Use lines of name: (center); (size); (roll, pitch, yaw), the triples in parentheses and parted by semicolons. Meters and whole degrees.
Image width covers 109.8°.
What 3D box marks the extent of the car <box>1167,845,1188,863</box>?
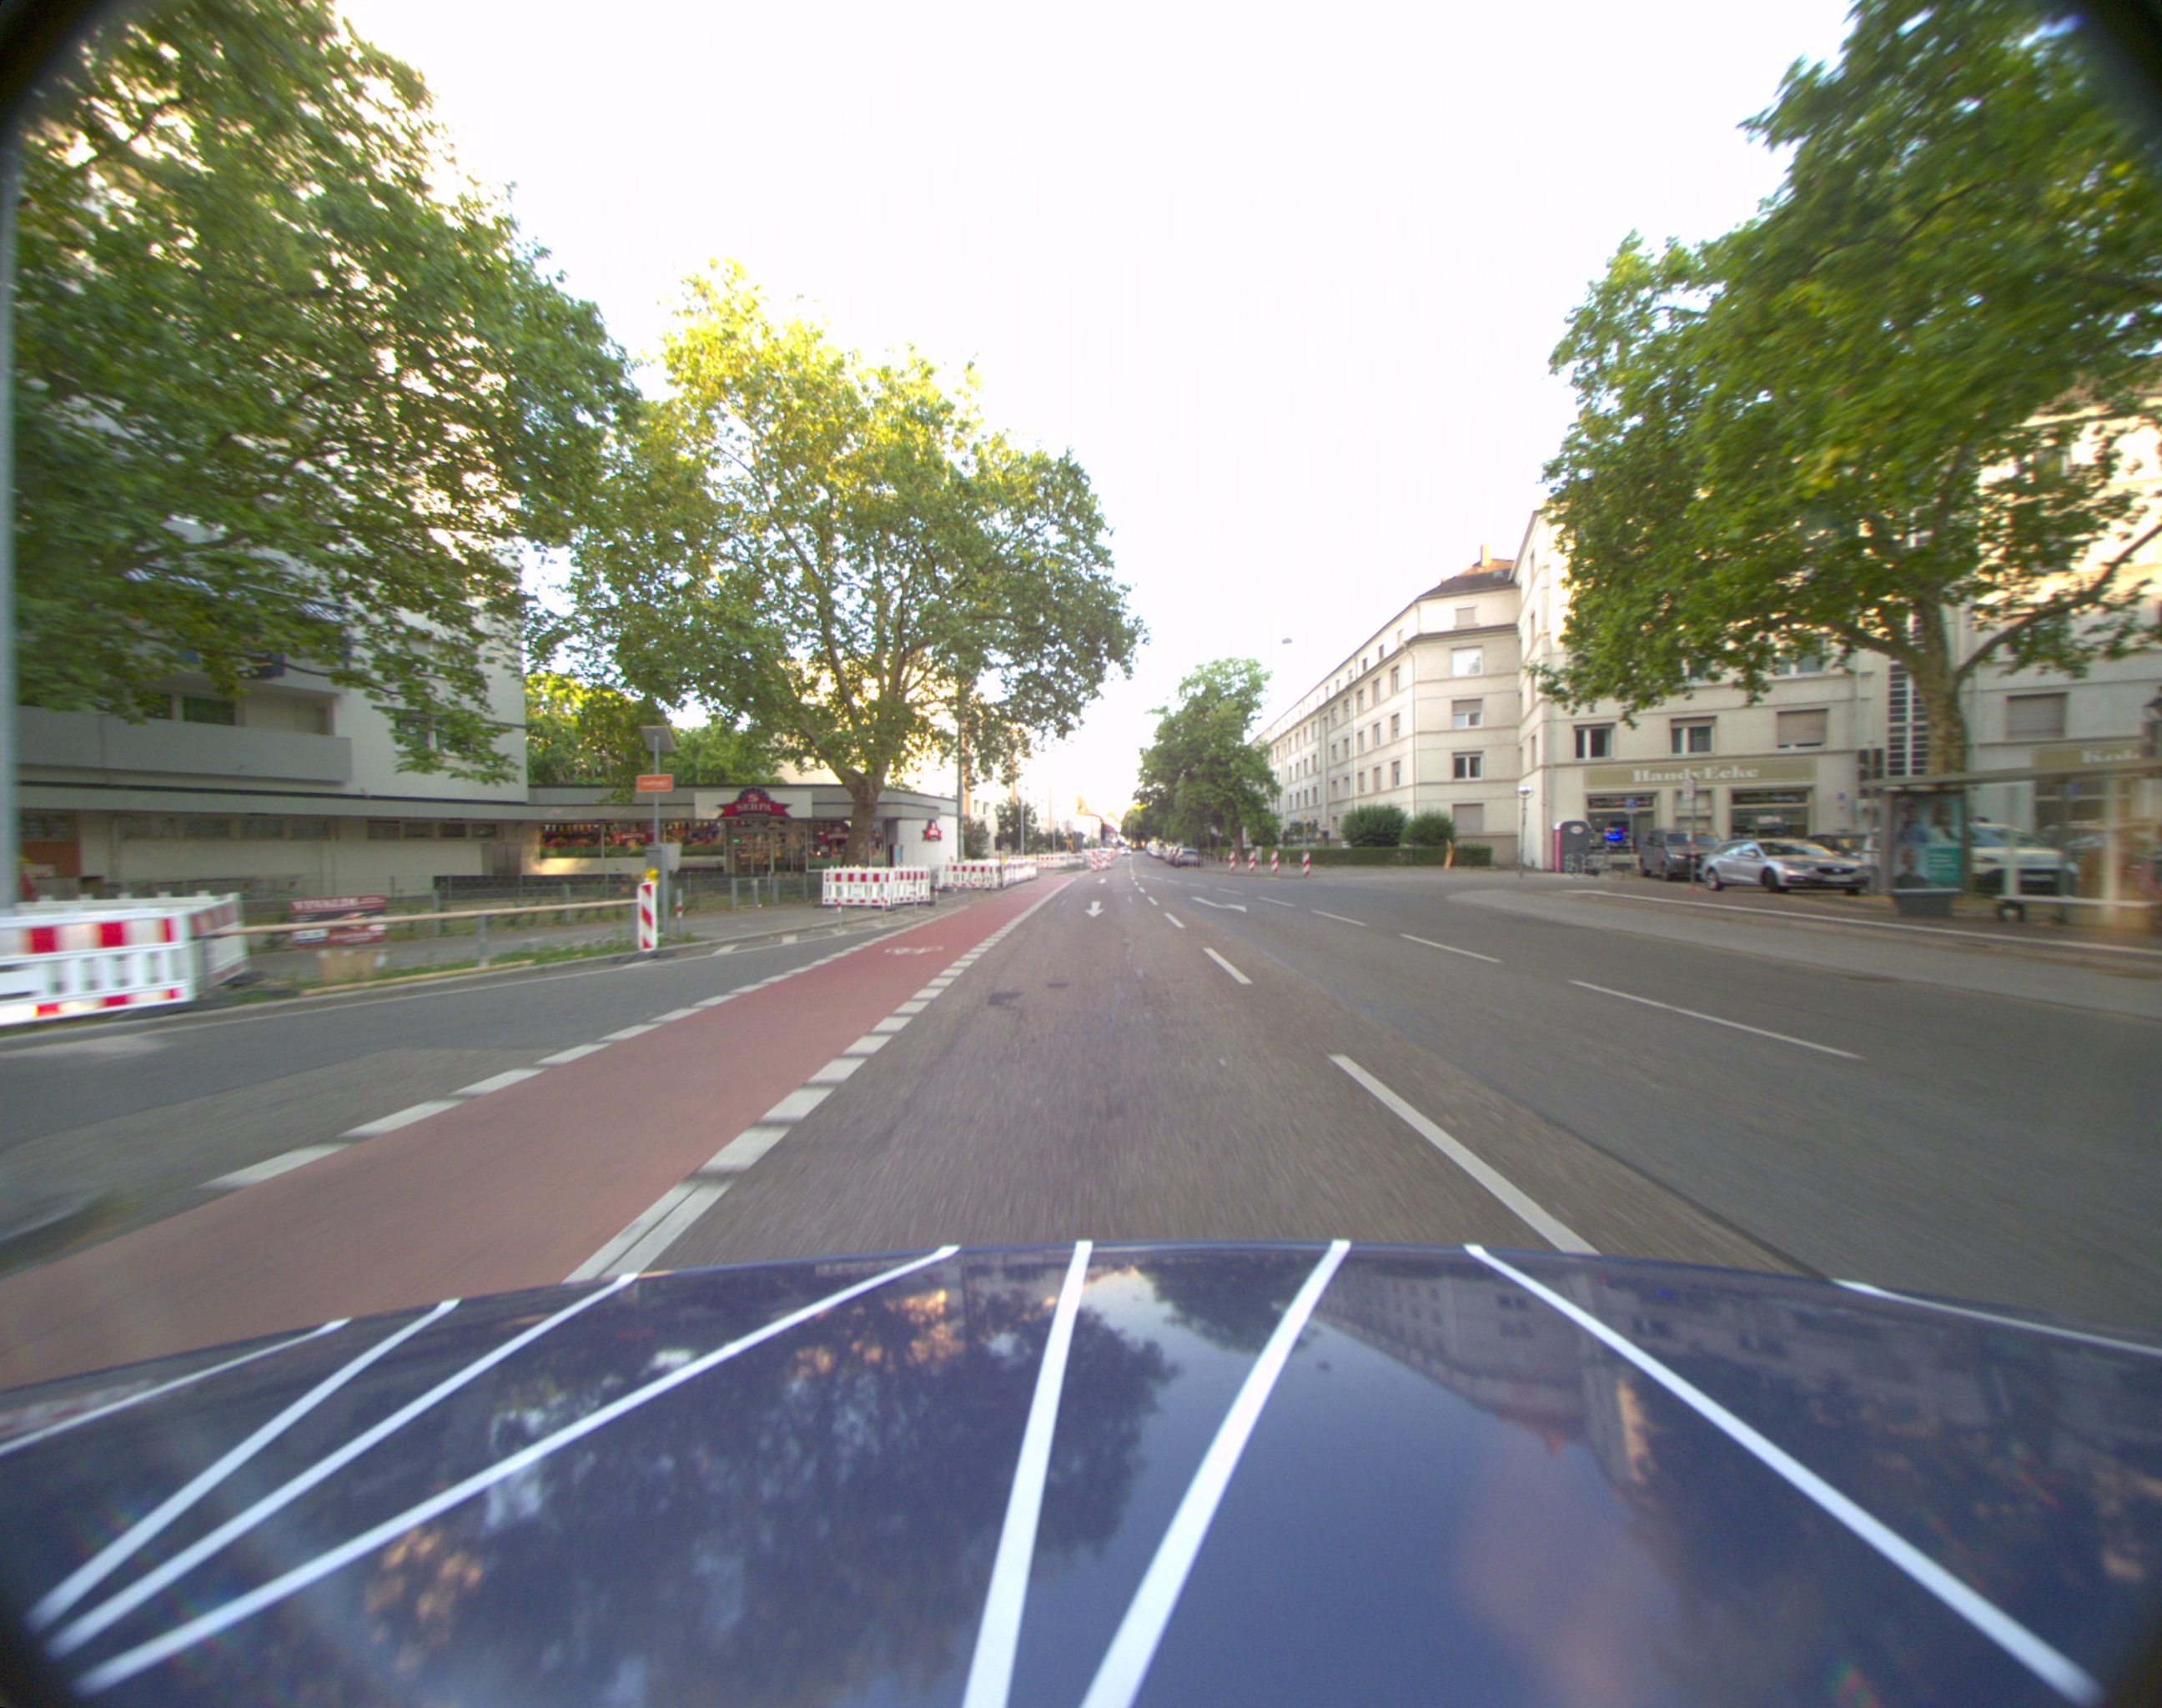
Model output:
car: (9.434, 0.002, 74.689); (1.892, 1.591, 4.260); (-2, 1, 6)

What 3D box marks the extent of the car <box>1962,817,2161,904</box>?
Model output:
car: (23.326, 0.153, 17.519); (1.995, 1.771, 4.648); (1, 0, 22)

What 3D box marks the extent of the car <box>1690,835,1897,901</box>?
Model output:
car: (18.283, 0.332, 19.857); (1.996, 1.495, 4.646); (1, 0, 15)

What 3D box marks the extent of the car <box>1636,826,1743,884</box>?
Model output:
car: (22.809, -0.062, 28.713); (1.995, 1.945, 4.646); (1, 3, 24)

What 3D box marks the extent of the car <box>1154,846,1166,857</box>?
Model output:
car: (12.787, -0.420, 123.078); (1.892, 1.591, 4.260); (-2, 1, 6)

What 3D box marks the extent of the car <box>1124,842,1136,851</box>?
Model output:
car: (10.154, -1.513, 155.964); (1.997, 1.838, 4.002); (-2, 2, 9)

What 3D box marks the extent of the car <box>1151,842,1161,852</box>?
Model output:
car: (14.549, -1.419, 147.590); (1.892, 1.868, 4.946); (-2, 1, 6)

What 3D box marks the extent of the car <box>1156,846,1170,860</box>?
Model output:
car: (11.593, -0.210, 107.577); (1.892, 1.816, 4.260); (-2, 1, 6)

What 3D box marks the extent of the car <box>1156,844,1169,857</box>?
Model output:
car: (12.170, -0.516, 113.409); (1.892, 1.855, 4.260); (-2, 1, 6)

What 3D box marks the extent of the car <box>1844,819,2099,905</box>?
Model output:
car: (20.860, 0.180, 18.162); (1.995, 1.771, 4.648); (1, 0, 22)

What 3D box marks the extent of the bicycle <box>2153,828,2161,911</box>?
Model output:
bicycle: (20.760, 0.329, 13.467); (0.807, 1.605, 2.749); (-1, 2, 26)

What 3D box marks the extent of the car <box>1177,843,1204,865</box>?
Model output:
car: (8.494, -0.012, 59.401); (1.892, 1.591, 4.001); (-2, 1, 6)

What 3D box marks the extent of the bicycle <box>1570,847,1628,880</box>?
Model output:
bicycle: (19.596, 0.371, 28.790); (1.802, 1.199, 0.648); (-1, 2, 34)

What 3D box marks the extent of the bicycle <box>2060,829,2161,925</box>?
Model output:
bicycle: (19.272, 0.371, 13.783); (0.690, 1.605, 2.749); (-1, 2, 26)

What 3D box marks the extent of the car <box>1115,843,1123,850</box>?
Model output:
car: (9.501, -1.793, 190.045); (1.892, 1.591, 4.260); (-2, 1, 6)

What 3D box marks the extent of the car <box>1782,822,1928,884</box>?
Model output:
car: (27.307, -0.133, 27.052); (1.995, 1.945, 4.646); (1, 3, 24)

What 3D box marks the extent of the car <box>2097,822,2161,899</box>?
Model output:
car: (25.438, 0.152, 16.436); (1.995, 1.771, 4.648); (1, 0, 22)

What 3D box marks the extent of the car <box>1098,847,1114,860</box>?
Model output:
car: (3.468, -0.066, 106.289); (1.892, 1.591, 4.260); (-2, 1, 6)

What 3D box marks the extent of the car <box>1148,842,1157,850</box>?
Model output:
car: (16.111, -1.764, 171.256); (1.892, 1.591, 4.260); (-2, 1, 6)

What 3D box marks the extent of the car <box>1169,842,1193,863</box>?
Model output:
car: (8.846, -0.137, 67.367); (1.892, 1.681, 4.260); (-2, 1, 6)

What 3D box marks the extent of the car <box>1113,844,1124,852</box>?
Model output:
car: (7.993, -1.363, 161.435); (1.892, 1.591, 4.260); (-2, 1, 6)

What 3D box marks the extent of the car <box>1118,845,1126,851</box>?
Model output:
car: (10.842, -1.580, 201.678); (1.892, 1.591, 4.260); (-2, 1, 6)

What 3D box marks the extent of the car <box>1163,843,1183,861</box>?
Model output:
car: (9.736, -0.253, 80.632); (1.892, 1.764, 4.260); (-2, 1, 6)

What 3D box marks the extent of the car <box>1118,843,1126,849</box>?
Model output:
car: (11.428, -2.210, 210.893); (1.892, 1.591, 4.260); (-2, 1, 6)

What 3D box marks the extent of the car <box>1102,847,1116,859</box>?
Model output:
car: (4.334, -0.130, 118.567); (1.892, 1.726, 4.260); (-2, 1, 6)
